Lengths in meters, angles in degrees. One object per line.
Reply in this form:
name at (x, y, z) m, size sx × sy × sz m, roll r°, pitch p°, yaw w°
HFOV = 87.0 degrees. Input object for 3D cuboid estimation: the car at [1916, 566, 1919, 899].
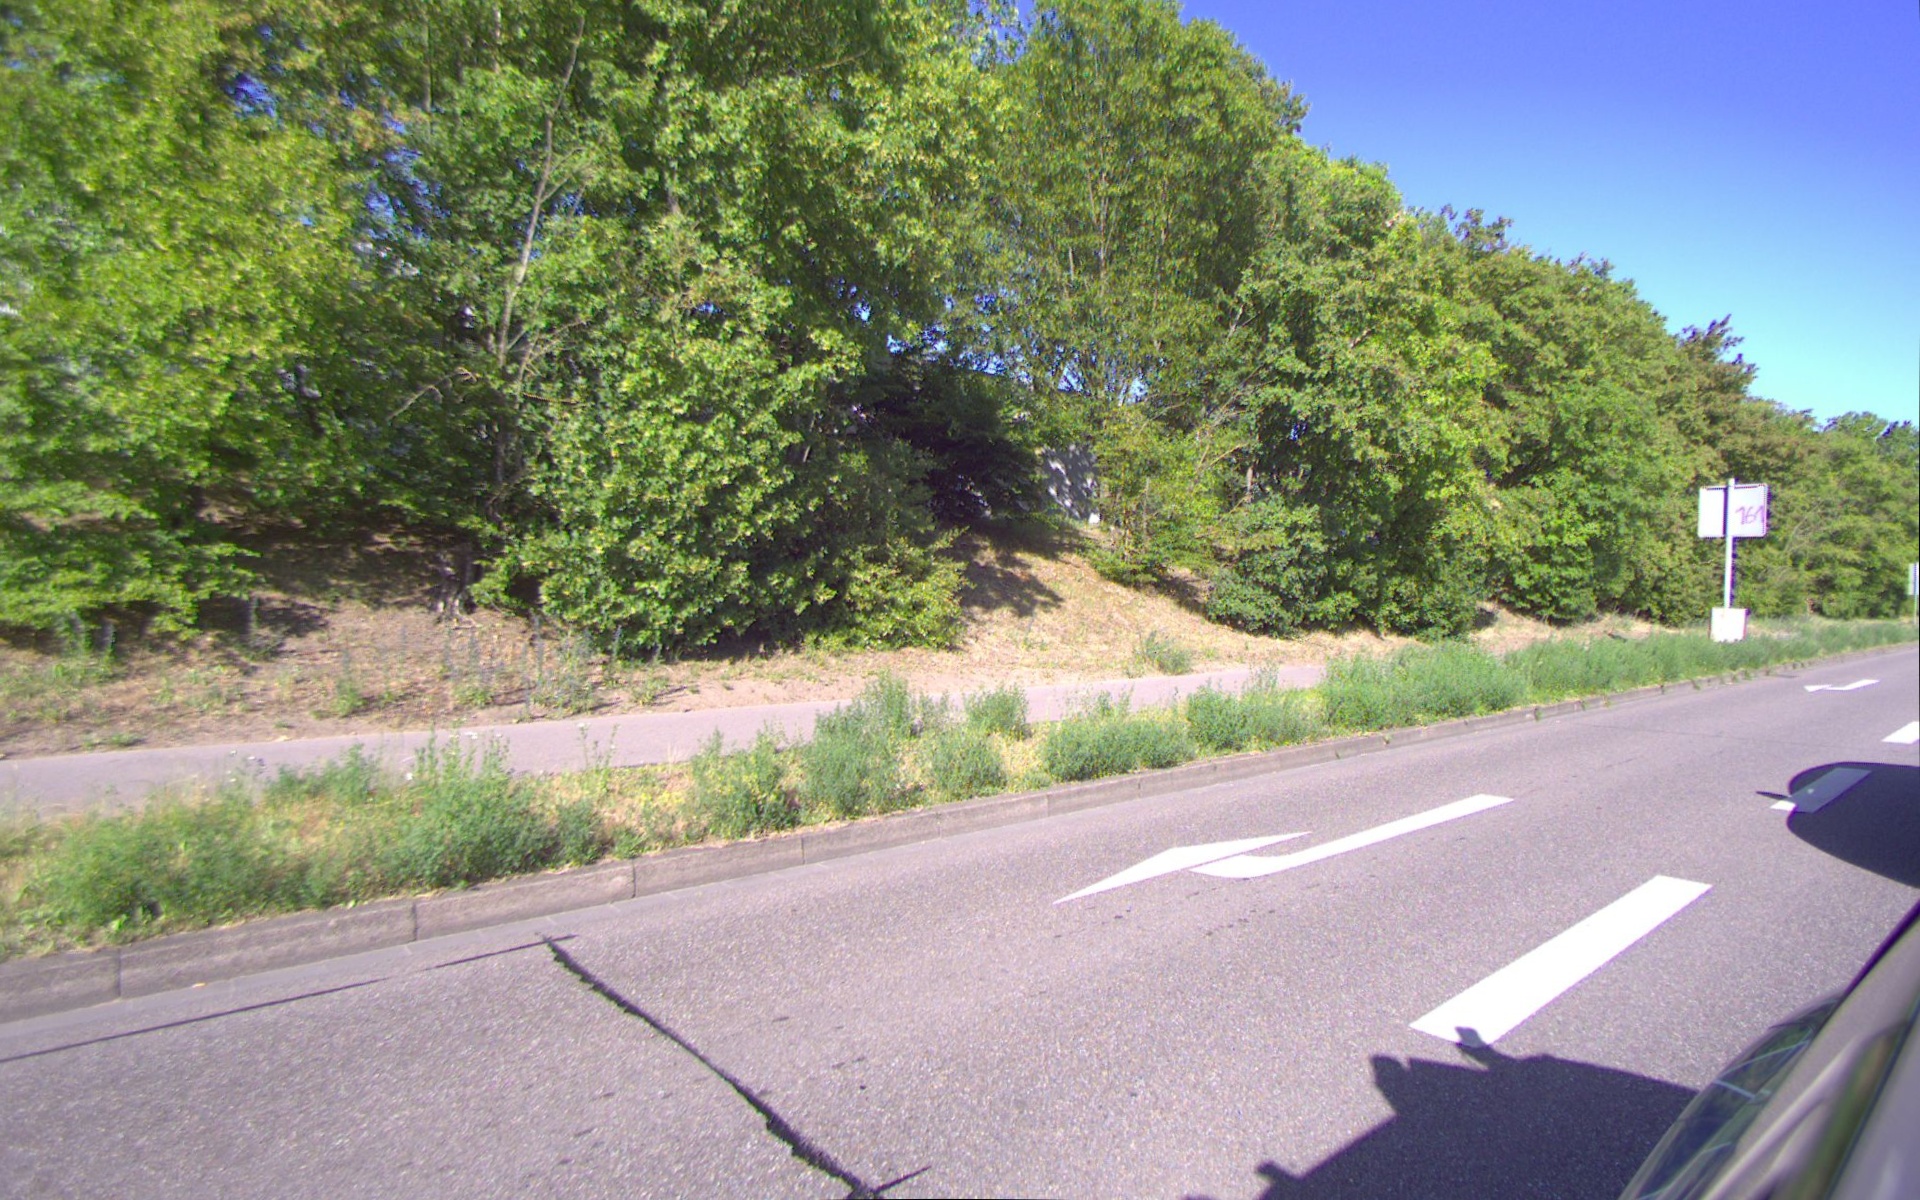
car at (6.858, 0.655, 5.505) m, size 4.026 × 1.631 × 2.023 m, roll 0°, pitch 0°, yaw -41°
